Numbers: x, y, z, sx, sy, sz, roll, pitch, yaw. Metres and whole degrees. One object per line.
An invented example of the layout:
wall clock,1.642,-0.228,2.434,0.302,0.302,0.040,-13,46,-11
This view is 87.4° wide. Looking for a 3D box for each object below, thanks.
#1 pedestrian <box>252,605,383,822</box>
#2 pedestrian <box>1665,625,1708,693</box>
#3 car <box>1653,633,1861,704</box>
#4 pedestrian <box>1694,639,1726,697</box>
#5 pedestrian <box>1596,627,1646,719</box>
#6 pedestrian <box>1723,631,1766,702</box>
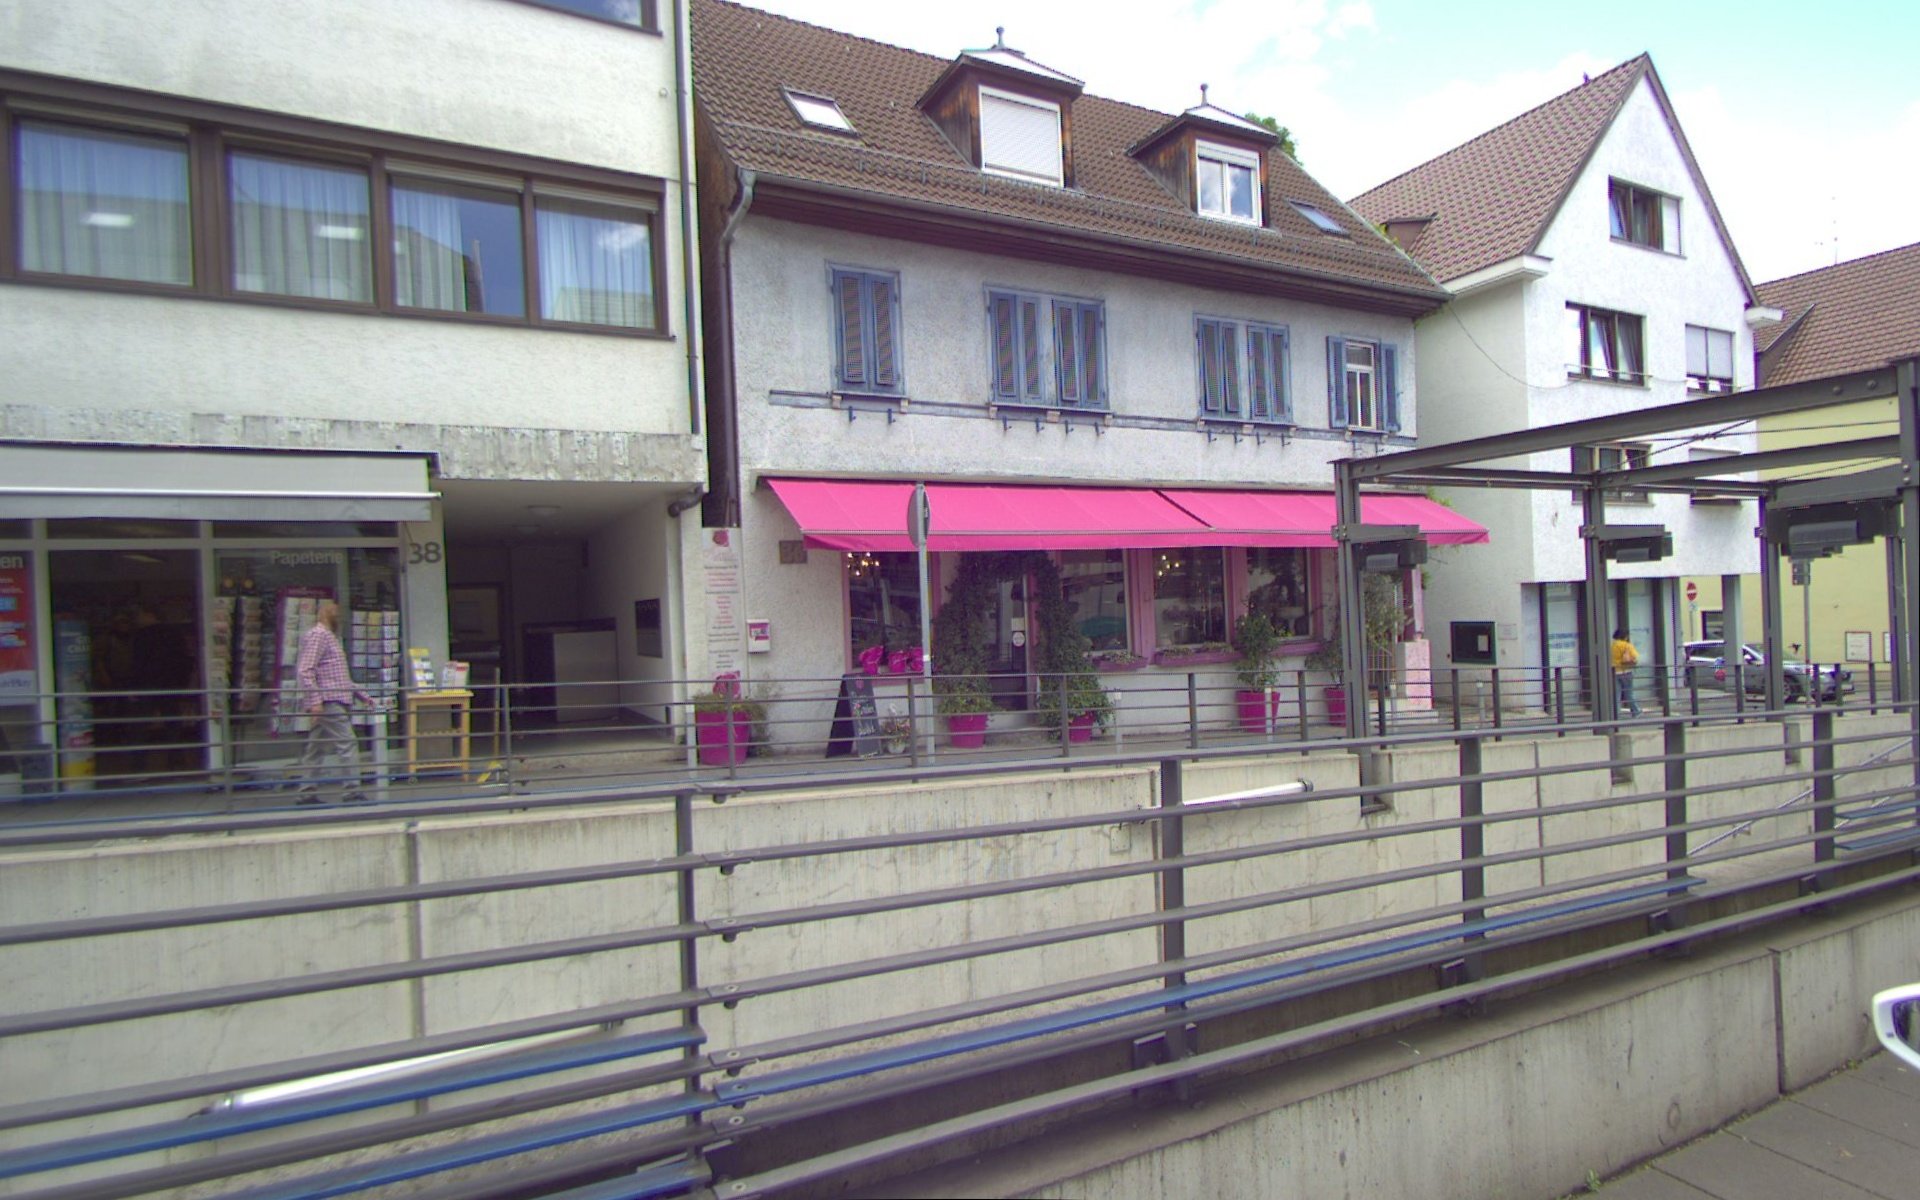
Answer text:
pedestrian,-5.336,0.910,8.391,0.816,1.711,0.637,1,-2,-25
pedestrian,18.818,1.526,26.018,0.722,1.711,0.648,1,0,-32
car,21.483,1.796,27.308,1.805,1.754,4.179,1,-2,-16
pedestrian,18.973,1.717,25.417,0.527,1.440,0.454,1,0,-31
pedestrian,12.570,1.373,19.112,0.570,1.711,0.575,1,0,-30
pedestrian,19.661,1.654,25.177,0.671,1.711,0.622,1,0,-30
